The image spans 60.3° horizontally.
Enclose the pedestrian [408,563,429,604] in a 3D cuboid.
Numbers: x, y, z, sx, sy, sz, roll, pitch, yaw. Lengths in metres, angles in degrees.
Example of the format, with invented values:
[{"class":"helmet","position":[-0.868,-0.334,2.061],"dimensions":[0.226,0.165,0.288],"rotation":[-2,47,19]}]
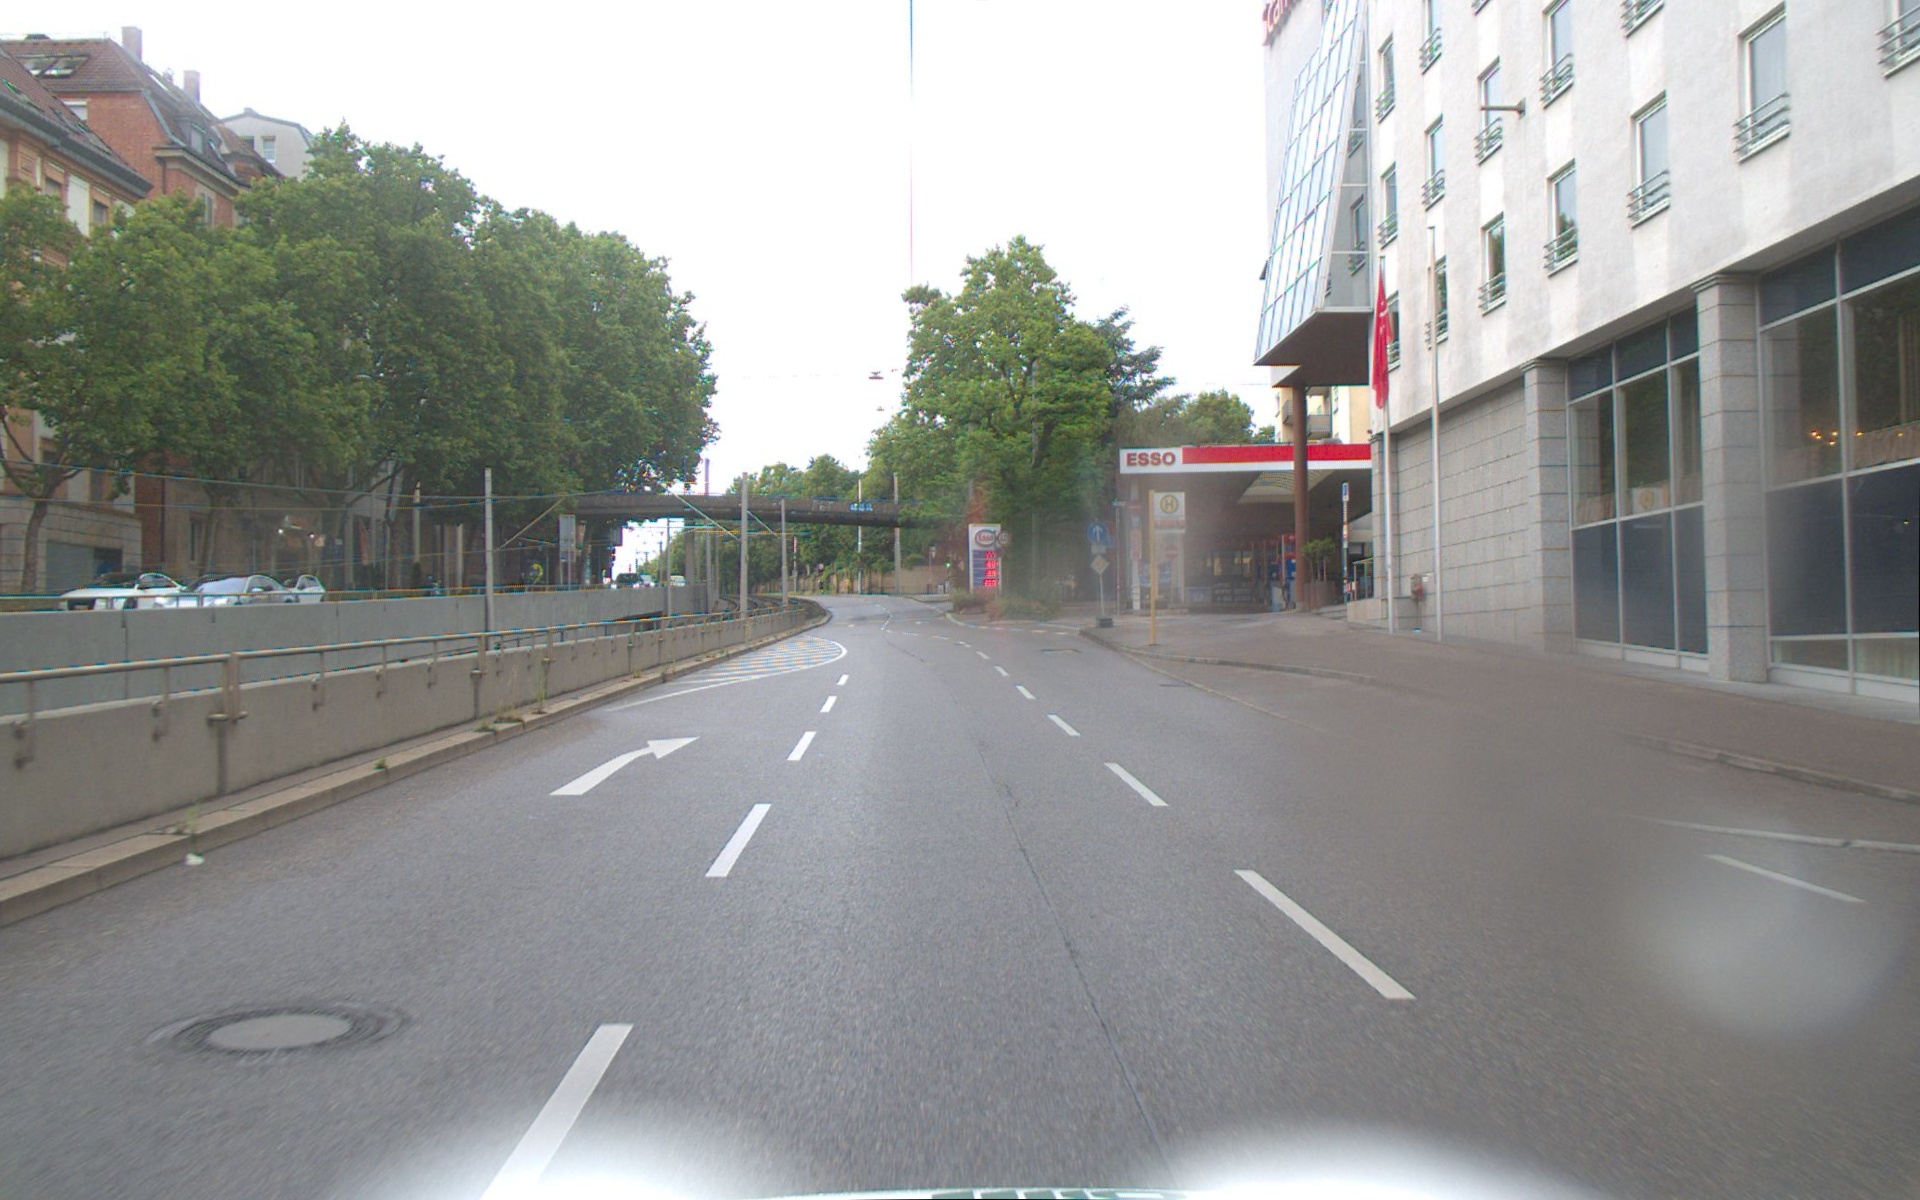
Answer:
[{"class":"pedestrian","position":[-27.341,-0.825,83.520],"dimensions":[0.655,2.049,0.935],"rotation":[1,-1,2]}]

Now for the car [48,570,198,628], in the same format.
[{"class":"car","position":[-25.037,-0.057,49.692],"dimensions":[1.888,1.629,5.199],"rotation":[1,0,0]}]

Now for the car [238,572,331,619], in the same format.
[{"class":"car","position":[-24.802,-0.167,60.863],"dimensions":[1.758,1.639,4.111],"rotation":[1,0,-1]}]

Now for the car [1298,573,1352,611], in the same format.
[{"class":"car","position":[15.860,-0.336,72.007],"dimensions":[1.756,1.537,4.002],"rotation":[1,-1,5]}]

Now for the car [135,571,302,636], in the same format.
[{"class":"car","position":[-18.672,0.063,41.908],"dimensions":[1.985,1.536,4.883],"rotation":[1,0,0]}]

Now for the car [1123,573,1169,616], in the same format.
[{"class":"car","position":[7.776,-0.207,68.927],"dimensions":[1.735,1.652,3.869],"rotation":[-3,0,7]}]
